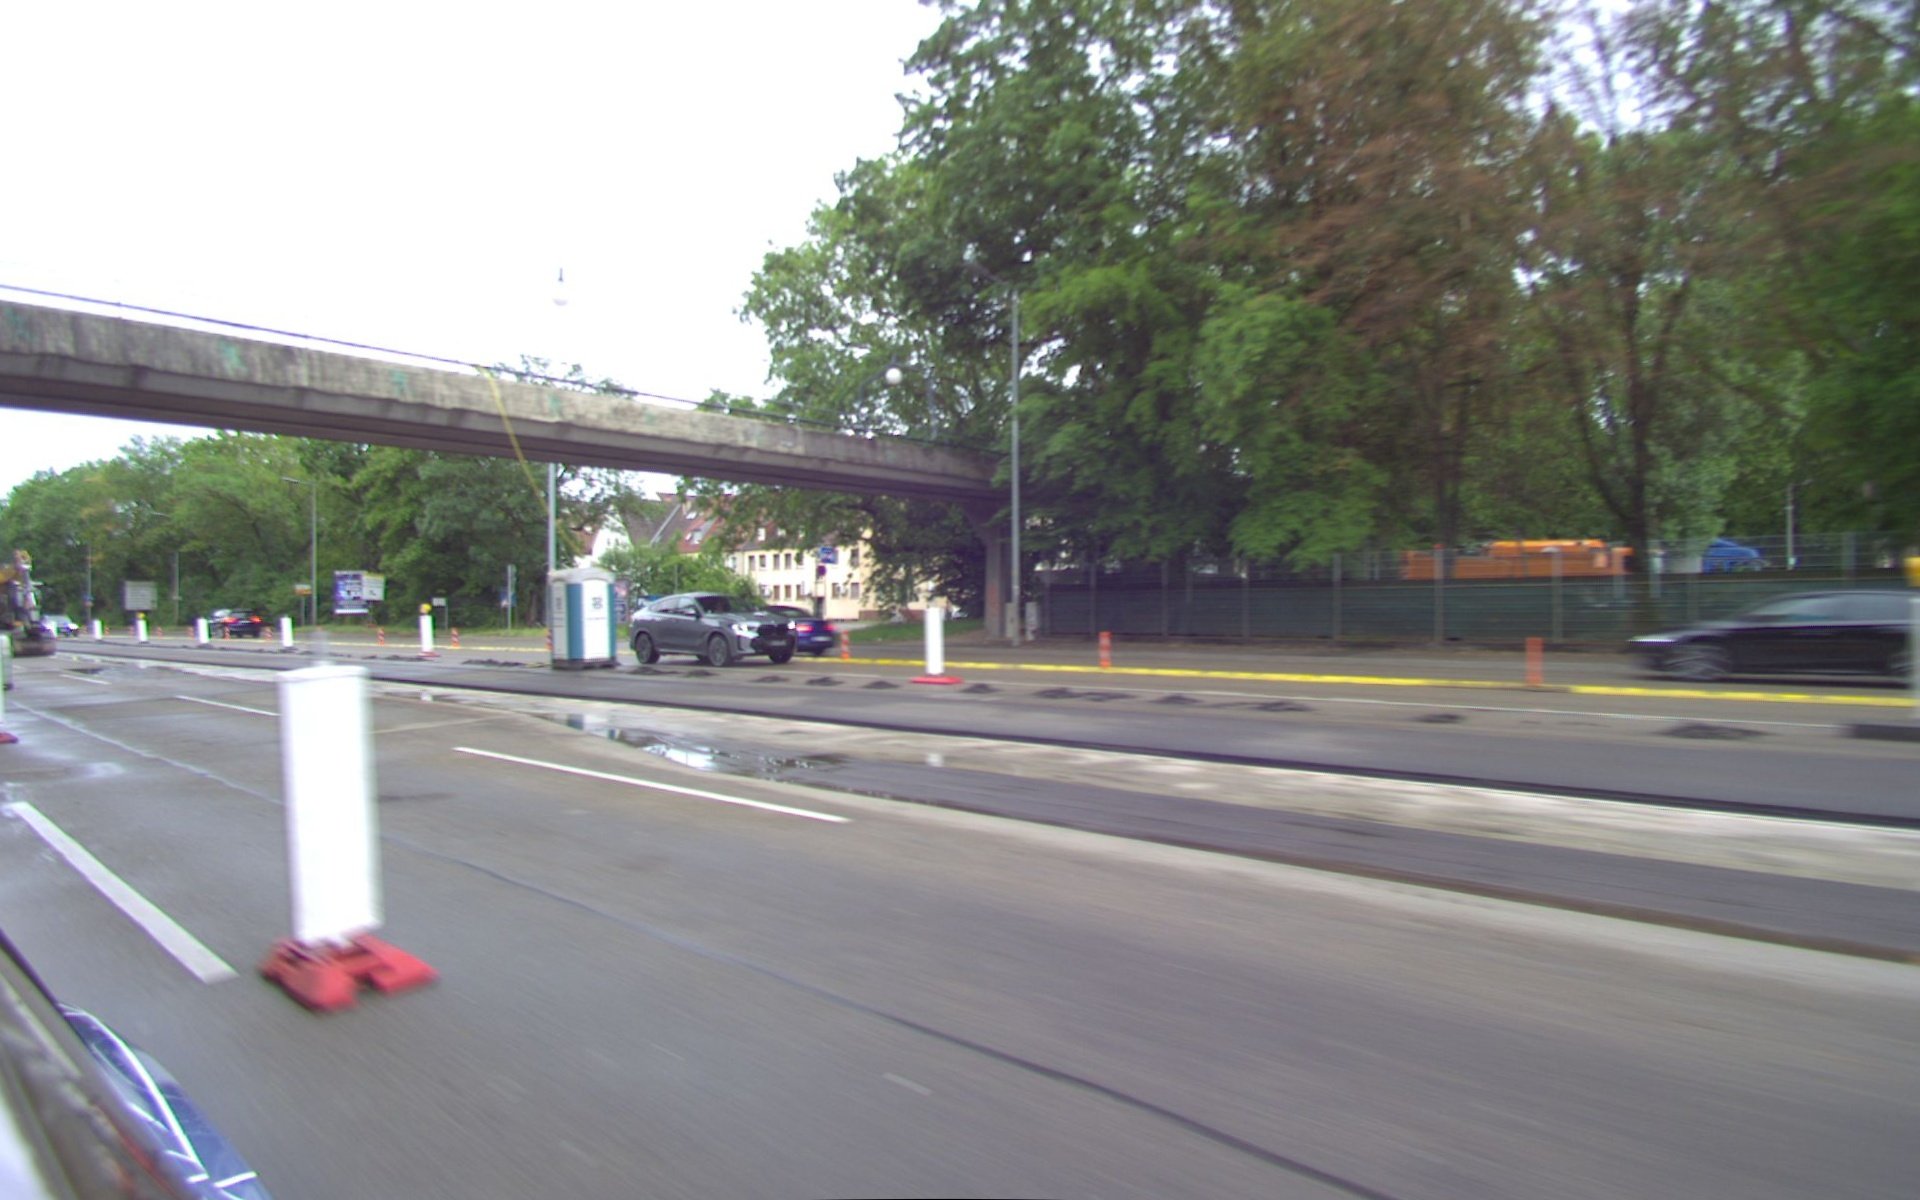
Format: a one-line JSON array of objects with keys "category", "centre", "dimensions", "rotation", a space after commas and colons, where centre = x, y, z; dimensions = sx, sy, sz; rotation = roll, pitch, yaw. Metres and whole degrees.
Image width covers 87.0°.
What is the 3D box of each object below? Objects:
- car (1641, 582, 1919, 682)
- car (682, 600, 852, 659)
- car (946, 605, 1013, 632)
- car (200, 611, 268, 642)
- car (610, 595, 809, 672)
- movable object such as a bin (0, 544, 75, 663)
[{"category": "car", "centre": [13.086, 0.426, 15.157], "dimensions": [4.566, 1.358, 1.972], "rotation": [0, 1, 43]}, {"category": "car", "centre": [-5.387, 0.766, 27.885], "dimensions": [4.880, 1.470, 1.974], "rotation": [-1, 0, 40]}, {"category": "car", "centre": [1.343, 1.246, 69.918], "dimensions": [4.151, 1.763, 2.006], "rotation": [-1, 0, -18]}, {"category": "car", "centre": [-44.037, 1.584, 61.356], "dimensions": [5.052, 1.752, 2.193], "rotation": [-1, 0, 40]}, {"category": "car", "centre": [-6.059, 0.737, 24.148], "dimensions": [5.052, 1.625, 2.055], "rotation": [-1, 0, 40]}, {"category": "movable object such as a bin", "centre": [-40.325, 0.182, 42.425], "dimensions": [10.064, 4.555, 3.481], "rotation": [-1, 0, 41]}]
